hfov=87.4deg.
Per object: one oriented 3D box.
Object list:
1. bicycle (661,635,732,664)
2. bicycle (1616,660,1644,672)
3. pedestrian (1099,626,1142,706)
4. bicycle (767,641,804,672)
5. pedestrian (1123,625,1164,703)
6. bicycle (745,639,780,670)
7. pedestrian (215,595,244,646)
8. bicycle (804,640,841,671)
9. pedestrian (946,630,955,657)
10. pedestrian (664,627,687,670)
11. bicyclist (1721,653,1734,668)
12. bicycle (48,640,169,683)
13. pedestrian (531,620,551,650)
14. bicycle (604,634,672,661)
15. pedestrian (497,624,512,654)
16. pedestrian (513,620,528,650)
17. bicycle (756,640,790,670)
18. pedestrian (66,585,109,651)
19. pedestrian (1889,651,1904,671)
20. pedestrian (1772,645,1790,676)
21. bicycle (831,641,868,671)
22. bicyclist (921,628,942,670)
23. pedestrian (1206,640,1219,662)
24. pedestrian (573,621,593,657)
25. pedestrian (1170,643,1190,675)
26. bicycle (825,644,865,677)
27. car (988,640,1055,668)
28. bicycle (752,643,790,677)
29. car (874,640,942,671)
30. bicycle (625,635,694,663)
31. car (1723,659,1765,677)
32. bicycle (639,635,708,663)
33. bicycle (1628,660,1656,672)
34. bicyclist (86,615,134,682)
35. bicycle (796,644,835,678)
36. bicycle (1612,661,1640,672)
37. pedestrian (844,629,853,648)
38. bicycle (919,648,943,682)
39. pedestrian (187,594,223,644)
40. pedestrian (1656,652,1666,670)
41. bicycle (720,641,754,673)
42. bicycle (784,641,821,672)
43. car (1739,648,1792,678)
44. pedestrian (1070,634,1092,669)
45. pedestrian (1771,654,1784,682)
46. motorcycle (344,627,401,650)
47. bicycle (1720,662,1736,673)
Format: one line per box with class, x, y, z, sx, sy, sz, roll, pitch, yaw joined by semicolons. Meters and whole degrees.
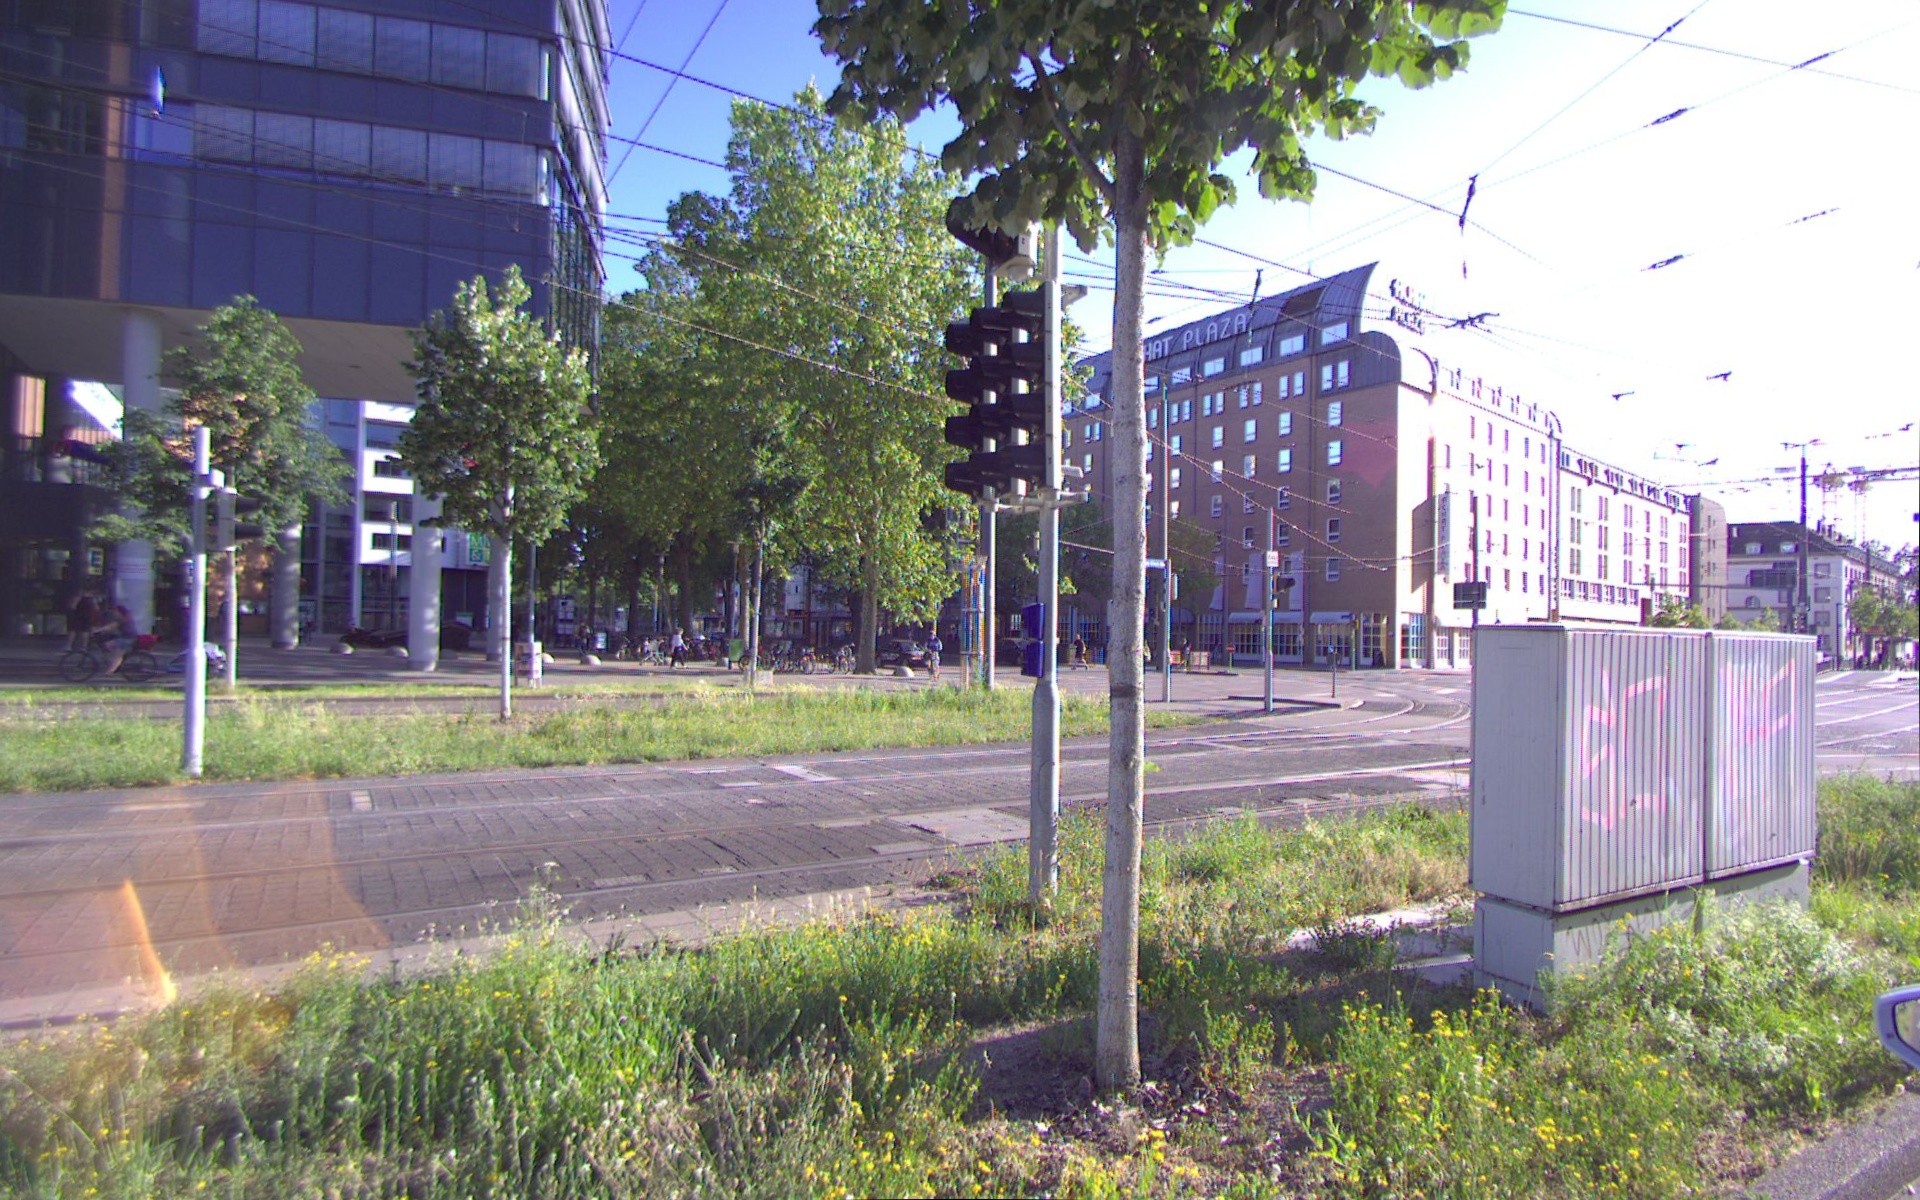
bicycle;-13.047;2.449;49.779;1.021;1.371;3.342;-1;-3;44
bicycle;58.116;5.731;87.196;0.477;0.933;2.024;2;-3;-30
pedestrian;3.878;1.578;24.259;0.691;1.894;0.728;2;-2;-31
bicycle;-6.731;2.152;38.662;0.592;1.143;2.348;1;-2;-30
pedestrian;4.548;1.577;24.904;0.666;1.894;0.727;2;-2;-33
bicycle;-7.676;2.108;38.992;0.592;1.143;2.348;1;-2;-30
pedestrian;-25.494;0.722;35.043;0.691;1.727;0.728;2;-2;-31
bicycle;-5.495;2.202;40.066;0.592;1.143;2.348;1;-2;-30
pedestrian;-0.674;3.075;71.015;0.581;1.853;0.745;2;-2;-1
pedestrian;-11.280;1.910;39.814;0.819;1.702;0.712;0;-1;-23
bicyclist;72.452;5.675;94.819;0.919;1.395;0.802;3;-3;-42
bicycle;-19.941;1.437;23.582;2.043;0.962;0.686;2;-2;-31
pedestrian;-22.920;1.921;54.952;0.685;1.644;0.734;1;-1;1
bicycle;-16.955;2.487;52.957;1.021;1.371;3.342;-1;-3;44
pedestrian;-26.473;2.262;58.378;0.691;1.737;0.727;2;-2;-33
pedestrian;-25.731;2.057;58.807;0.691;1.737;0.727;2;-2;-33
bicycle;-7.650;2.213;40.916;0.592;1.143;2.348;1;-2;-30
pedestrian;-23.219;0.485;26.748;0.691;1.727;0.728;2;-2;-31
pedestrian;81.915;5.343;87.849;0.850;1.692;0.781;1;-1;39
pedestrian;47.212;3.484;57.778;0.589;1.749;0.715;2;-2;-39
bicycle;-4.459;2.223;40.433;0.592;1.143;2.348;1;-2;-30
bicyclist;-1.025;1.766;36.405;0.680;1.480;0.754;1;-2;4
pedestrian;19.764;4.022;78.626;0.735;1.688;0.745;2;-2;-38
pedestrian;-17.861;1.864;47.611;0.691;1.674;0.700;3;-2;-32
pedestrian;12.025;3.235;54.852;0.824;1.702;0.708;1;-1;-39
bicycle;-4.234;2.219;36.945;0.592;1.143;2.349;1;-2;-29
car;3.330;2.959;54.954;1.653;1.433;3.965;3;-3;-32
bicycle;-6.763;2.123;35.901;0.592;1.143;2.349;1;-2;-29
car;-2.570;2.709;48.989;1.652;1.425;3.968;3;-3;-30
bicycle;-15.597;2.556;52.172;1.021;1.371;3.342;-1;-3;44
car;59.585;5.156;76.317;4.200;1.285;1.822;3;-5;-43
bicycle;-14.544;2.508;51.104;1.021;1.371;3.342;-1;-3;44
bicycle;59.408;5.761;87.535;0.477;0.933;2.024;2;-3;-30
bicyclist;-19.938;1.129;23.582;0.695;1.550;0.686;2;-2;-31
bicycle;-5.219;2.179;36.240;0.592;1.143;2.349;1;-2;-29
bicycle;57.236;5.714;86.320;0.477;0.856;2.024;2;-3;-30
pedestrian;-9.212;3.182;83.048;0.557;1.594;0.636;2;0;-20
bicycle;-1.044;2.332;36.325;0.680;1.152;1.852;1;-2;4
pedestrian;-25.262;0.641;33.621;0.722;1.644;0.696;2;-2;-18
pedestrian;71.308;6.199;102.181;0.560;1.787;0.711;2;-3;-38
bicycle;-8.552;2.163;38.435;0.592;1.143;2.348;1;-2;-30
bicycle;-6.132;2.186;38.944;0.592;1.143;2.348;1;-2;-30
car;53.160;4.159;66.279;4.071;1.859;1.825;3;-4;-38
pedestrian;6.086;2.575;50.584;0.821;1.702;0.711;0;-1;-29
pedestrian;48.343;4.018;59.408;0.573;1.597;0.644;0;-2;36
motorcycle;-28.895;1.876;49.431;2.309;1.072;0.828;2;-2;-22
bicycle;72.528;6.372;94.864;2.490;1.004;0.802;3;-3;-42
